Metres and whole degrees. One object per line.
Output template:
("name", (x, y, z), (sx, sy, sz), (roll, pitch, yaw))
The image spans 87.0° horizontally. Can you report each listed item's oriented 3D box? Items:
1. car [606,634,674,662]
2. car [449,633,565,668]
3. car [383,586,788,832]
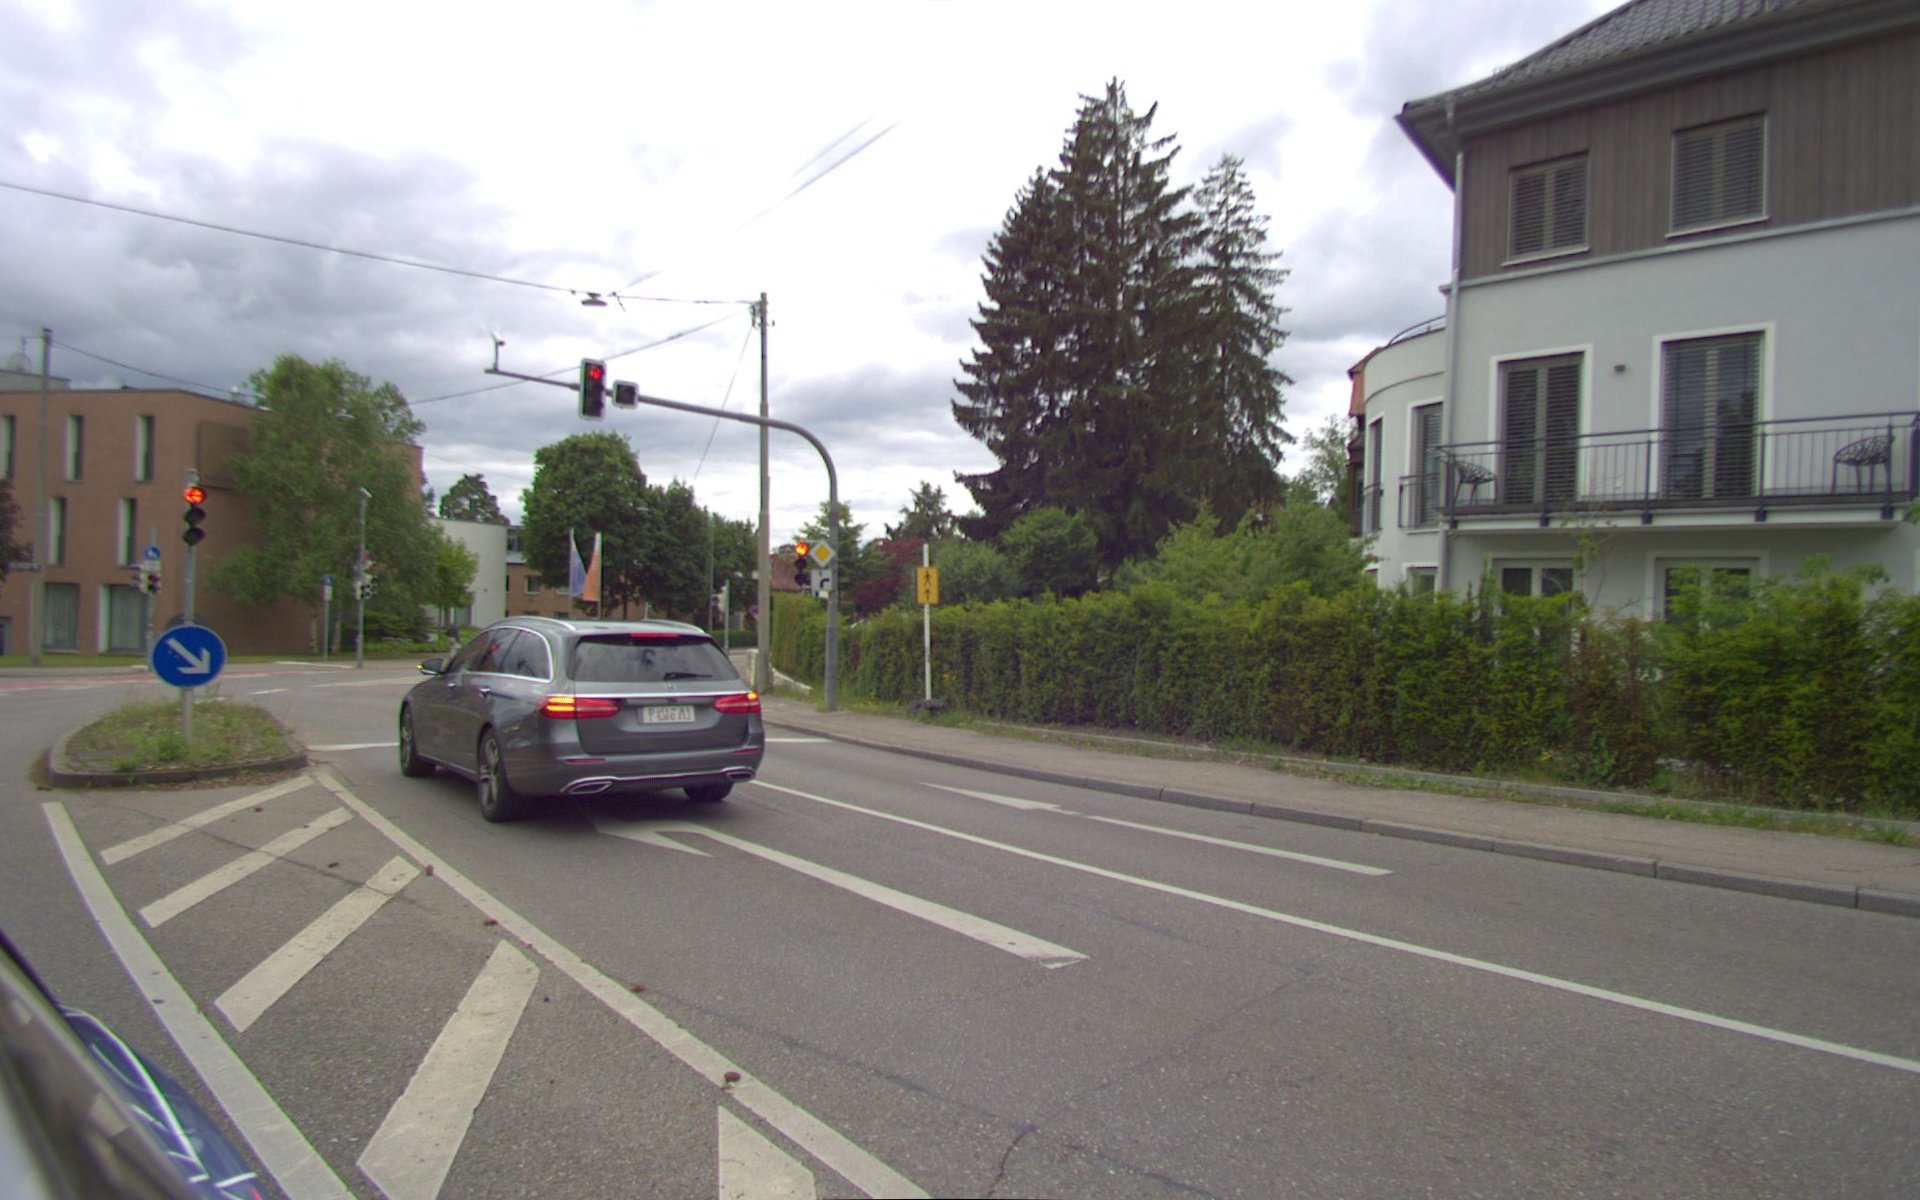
("car", (-16.043, 2.385, 50.937), (1.974, 1.209, 3.996), (1, -1, 3))
("car", (-17.387, 1.905, 39.037), (1.983, 1.254, 3.977), (0, -2, 17))
("car", (-3.437, 0.754, 8.605), (1.802, 1.496, 4.757), (3, -3, -39))
